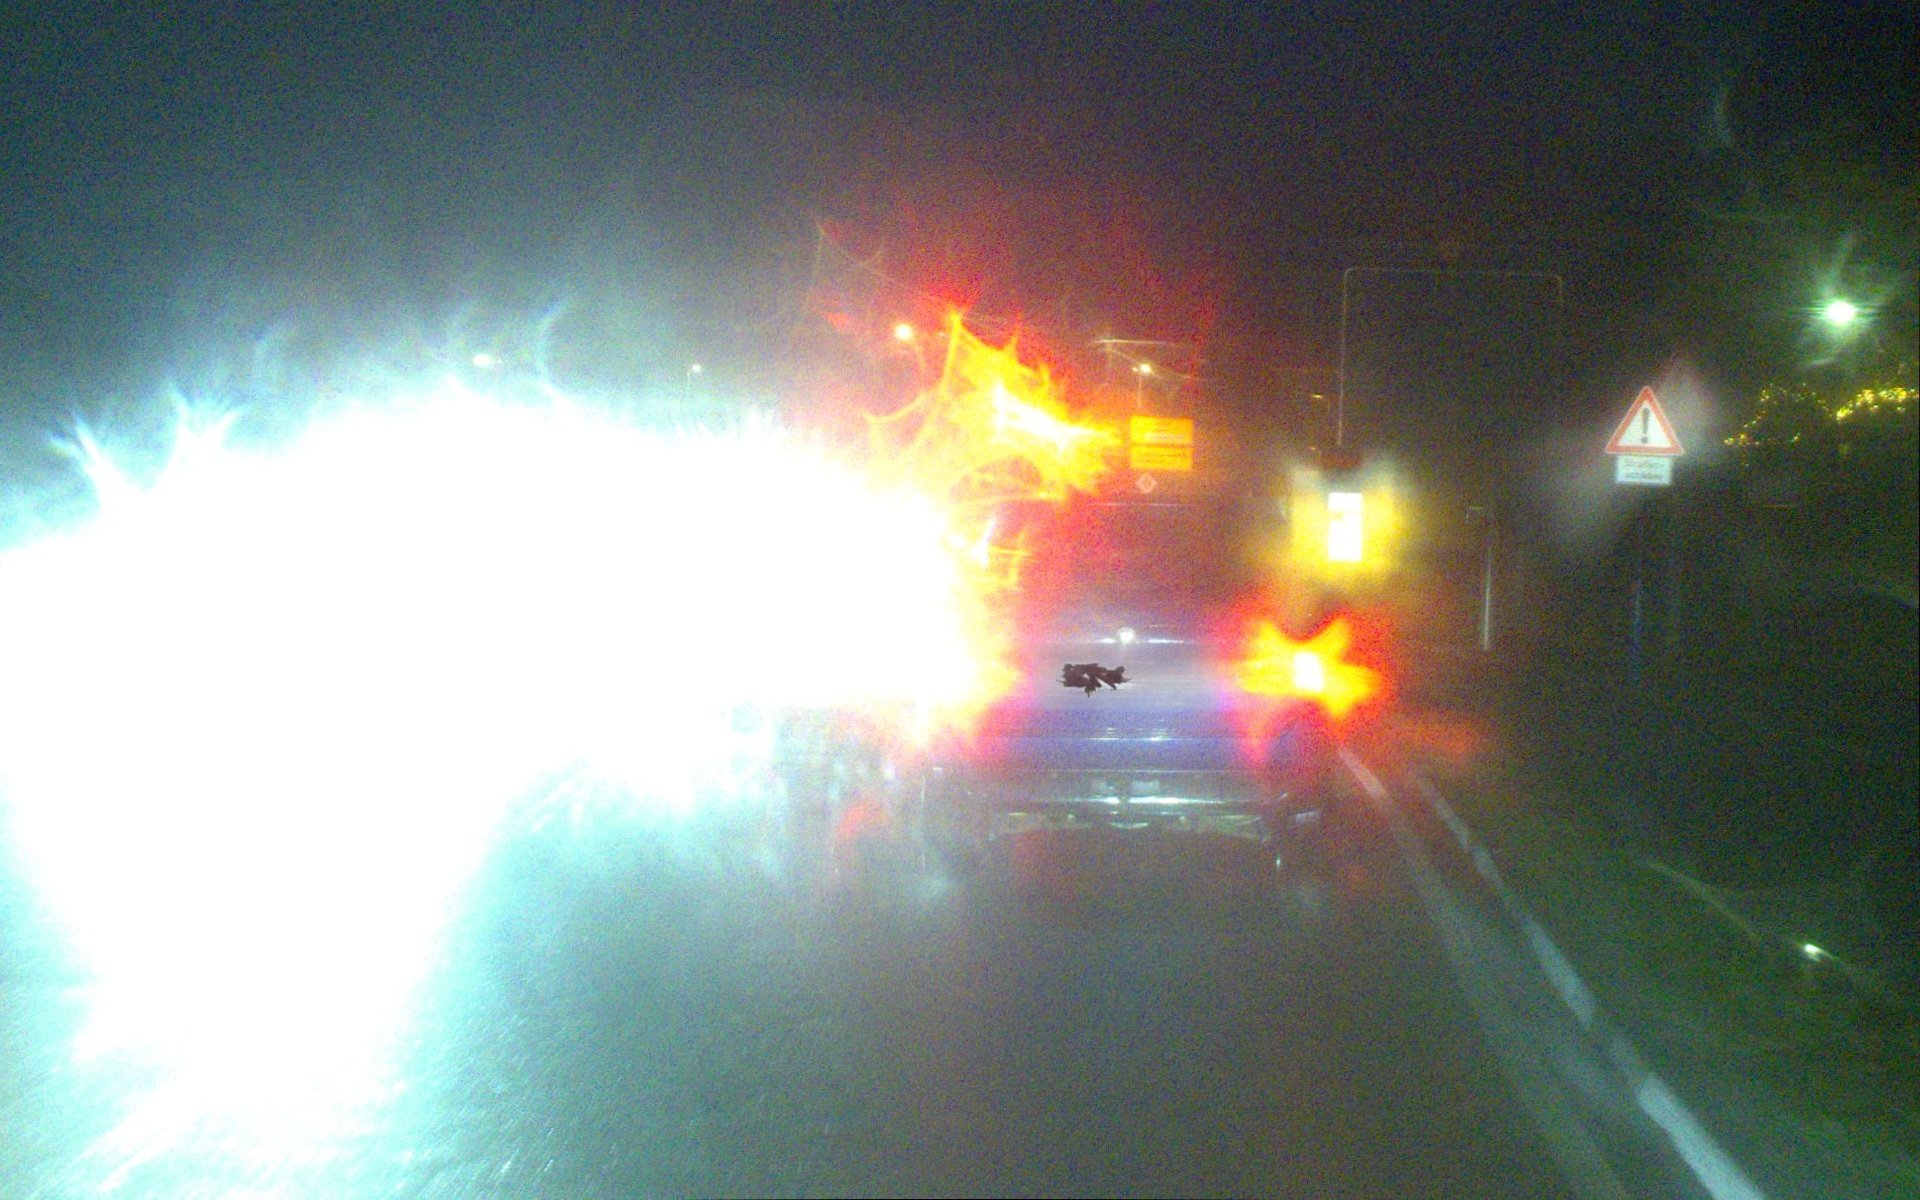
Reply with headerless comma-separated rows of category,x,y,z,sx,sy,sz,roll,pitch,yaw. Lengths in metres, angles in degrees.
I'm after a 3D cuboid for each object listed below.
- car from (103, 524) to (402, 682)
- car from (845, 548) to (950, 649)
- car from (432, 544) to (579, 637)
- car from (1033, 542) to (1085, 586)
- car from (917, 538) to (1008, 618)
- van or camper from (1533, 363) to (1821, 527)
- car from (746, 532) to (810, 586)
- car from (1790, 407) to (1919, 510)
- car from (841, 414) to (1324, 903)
car,-7.007,-0.021,34.569,2.077,1.444,4.992,1,1,-1
car,-1.064,-0.043,59.060,1.694,1.624,3.853,1,0,-1
car,-7.469,-0.188,56.882,1.918,1.439,4.546,1,1,-2
car,3.374,-1.200,116.973,1.663,1.445,4.049,1,0,3
car,0.072,-0.494,73.705,1.709,1.632,3.730,0,1,4
van or camper,13.318,-2.821,64.440,2.579,2.898,6.361,0,1,-16
car,-5.070,-1.170,96.157,1.694,1.429,4.294,1,1,-2
car,15.730,-2.347,57.823,1.635,1.612,4.136,1,1,-15
car,0.557,0.193,16.175,1.942,1.965,4.218,1,1,2
